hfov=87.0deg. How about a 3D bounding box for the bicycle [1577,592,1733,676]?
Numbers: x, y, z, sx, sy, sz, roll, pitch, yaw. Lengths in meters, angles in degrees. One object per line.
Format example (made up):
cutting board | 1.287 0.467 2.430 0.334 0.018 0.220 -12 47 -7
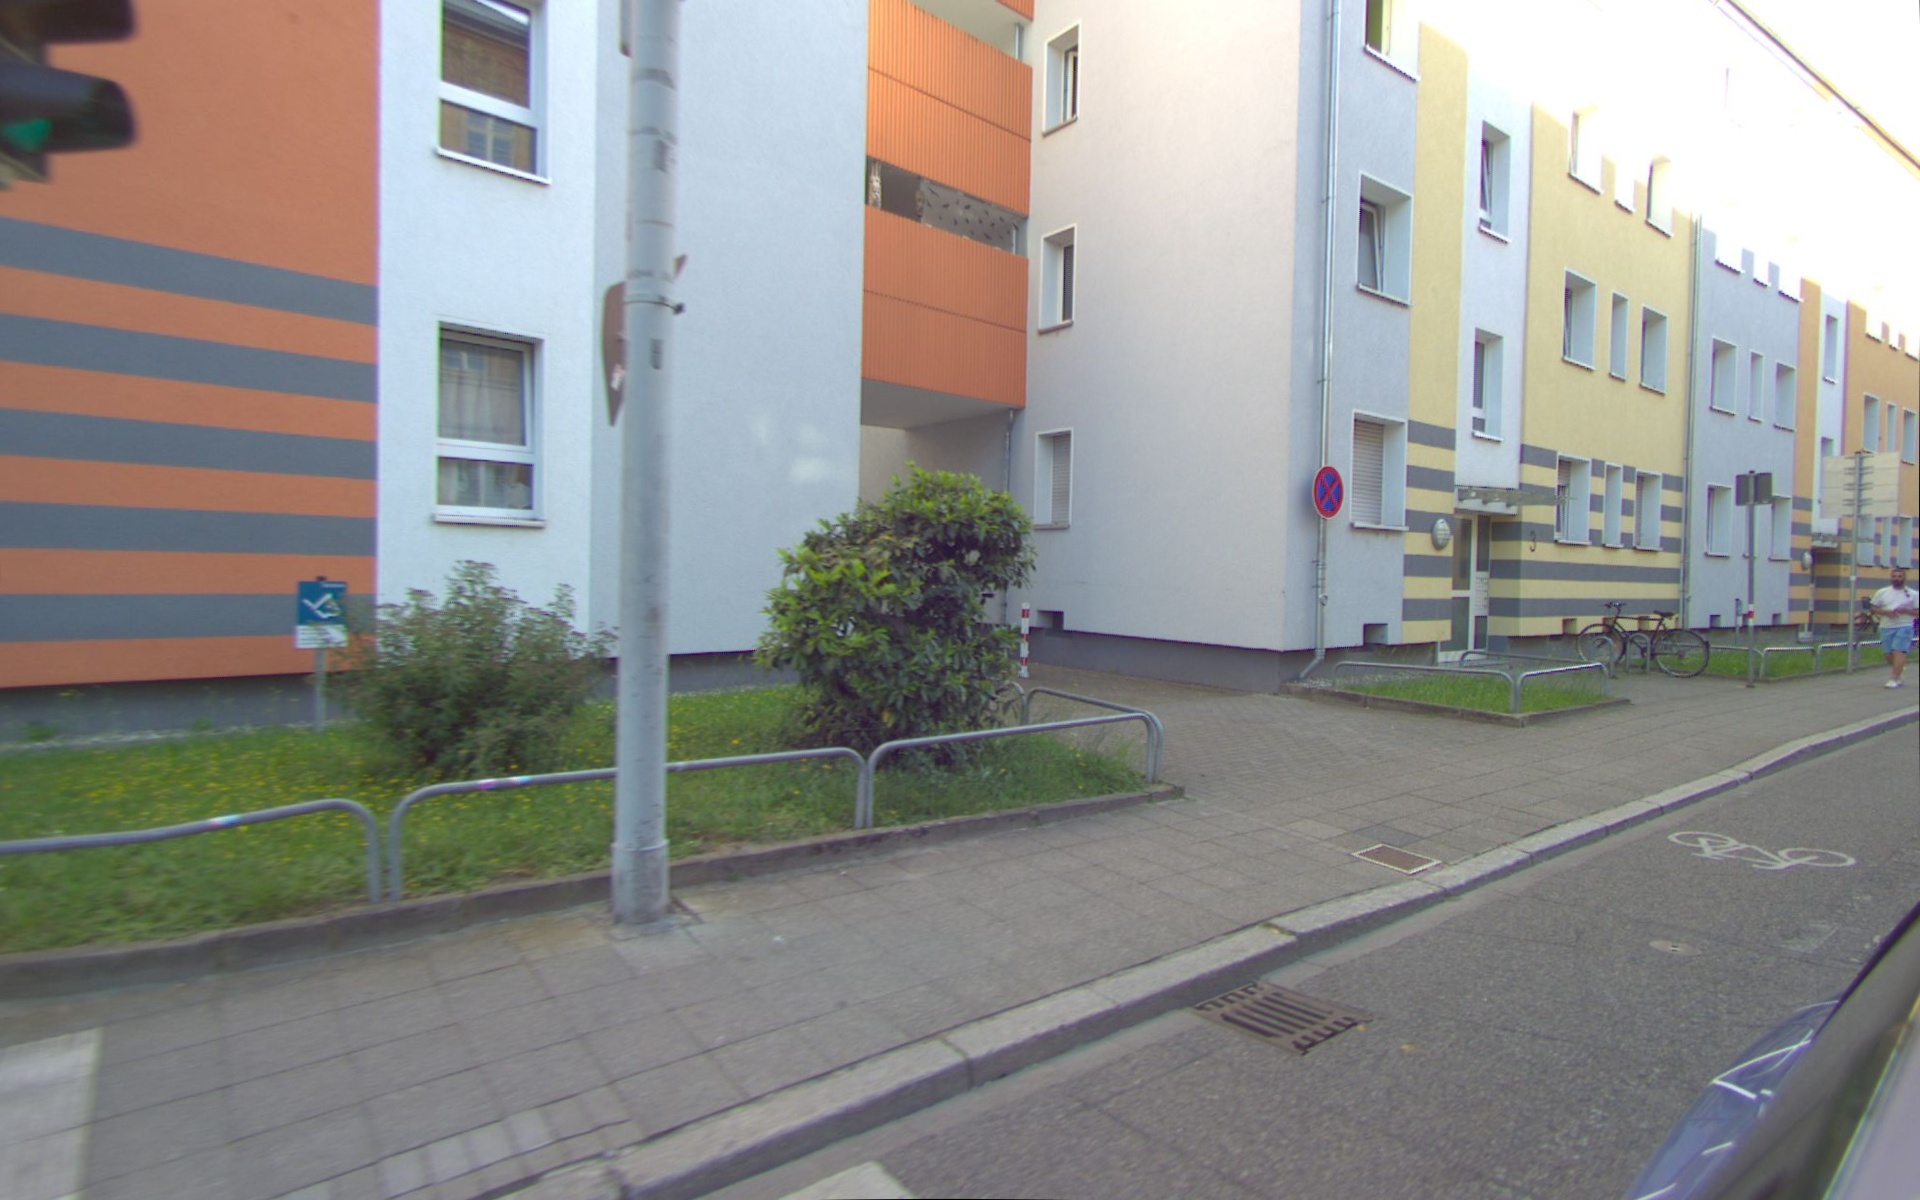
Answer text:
bicycle | 10.256 0.470 14.981 0.573 1.061 1.776 -1 4 -41

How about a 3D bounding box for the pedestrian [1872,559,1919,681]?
pedestrian | 13.640 0.279 14.477 0.818 1.692 0.645 0 2 -34

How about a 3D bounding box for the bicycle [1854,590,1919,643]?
bicycle | 21.711 0.387 23.144 0.573 1.137 1.777 -1 4 -38
